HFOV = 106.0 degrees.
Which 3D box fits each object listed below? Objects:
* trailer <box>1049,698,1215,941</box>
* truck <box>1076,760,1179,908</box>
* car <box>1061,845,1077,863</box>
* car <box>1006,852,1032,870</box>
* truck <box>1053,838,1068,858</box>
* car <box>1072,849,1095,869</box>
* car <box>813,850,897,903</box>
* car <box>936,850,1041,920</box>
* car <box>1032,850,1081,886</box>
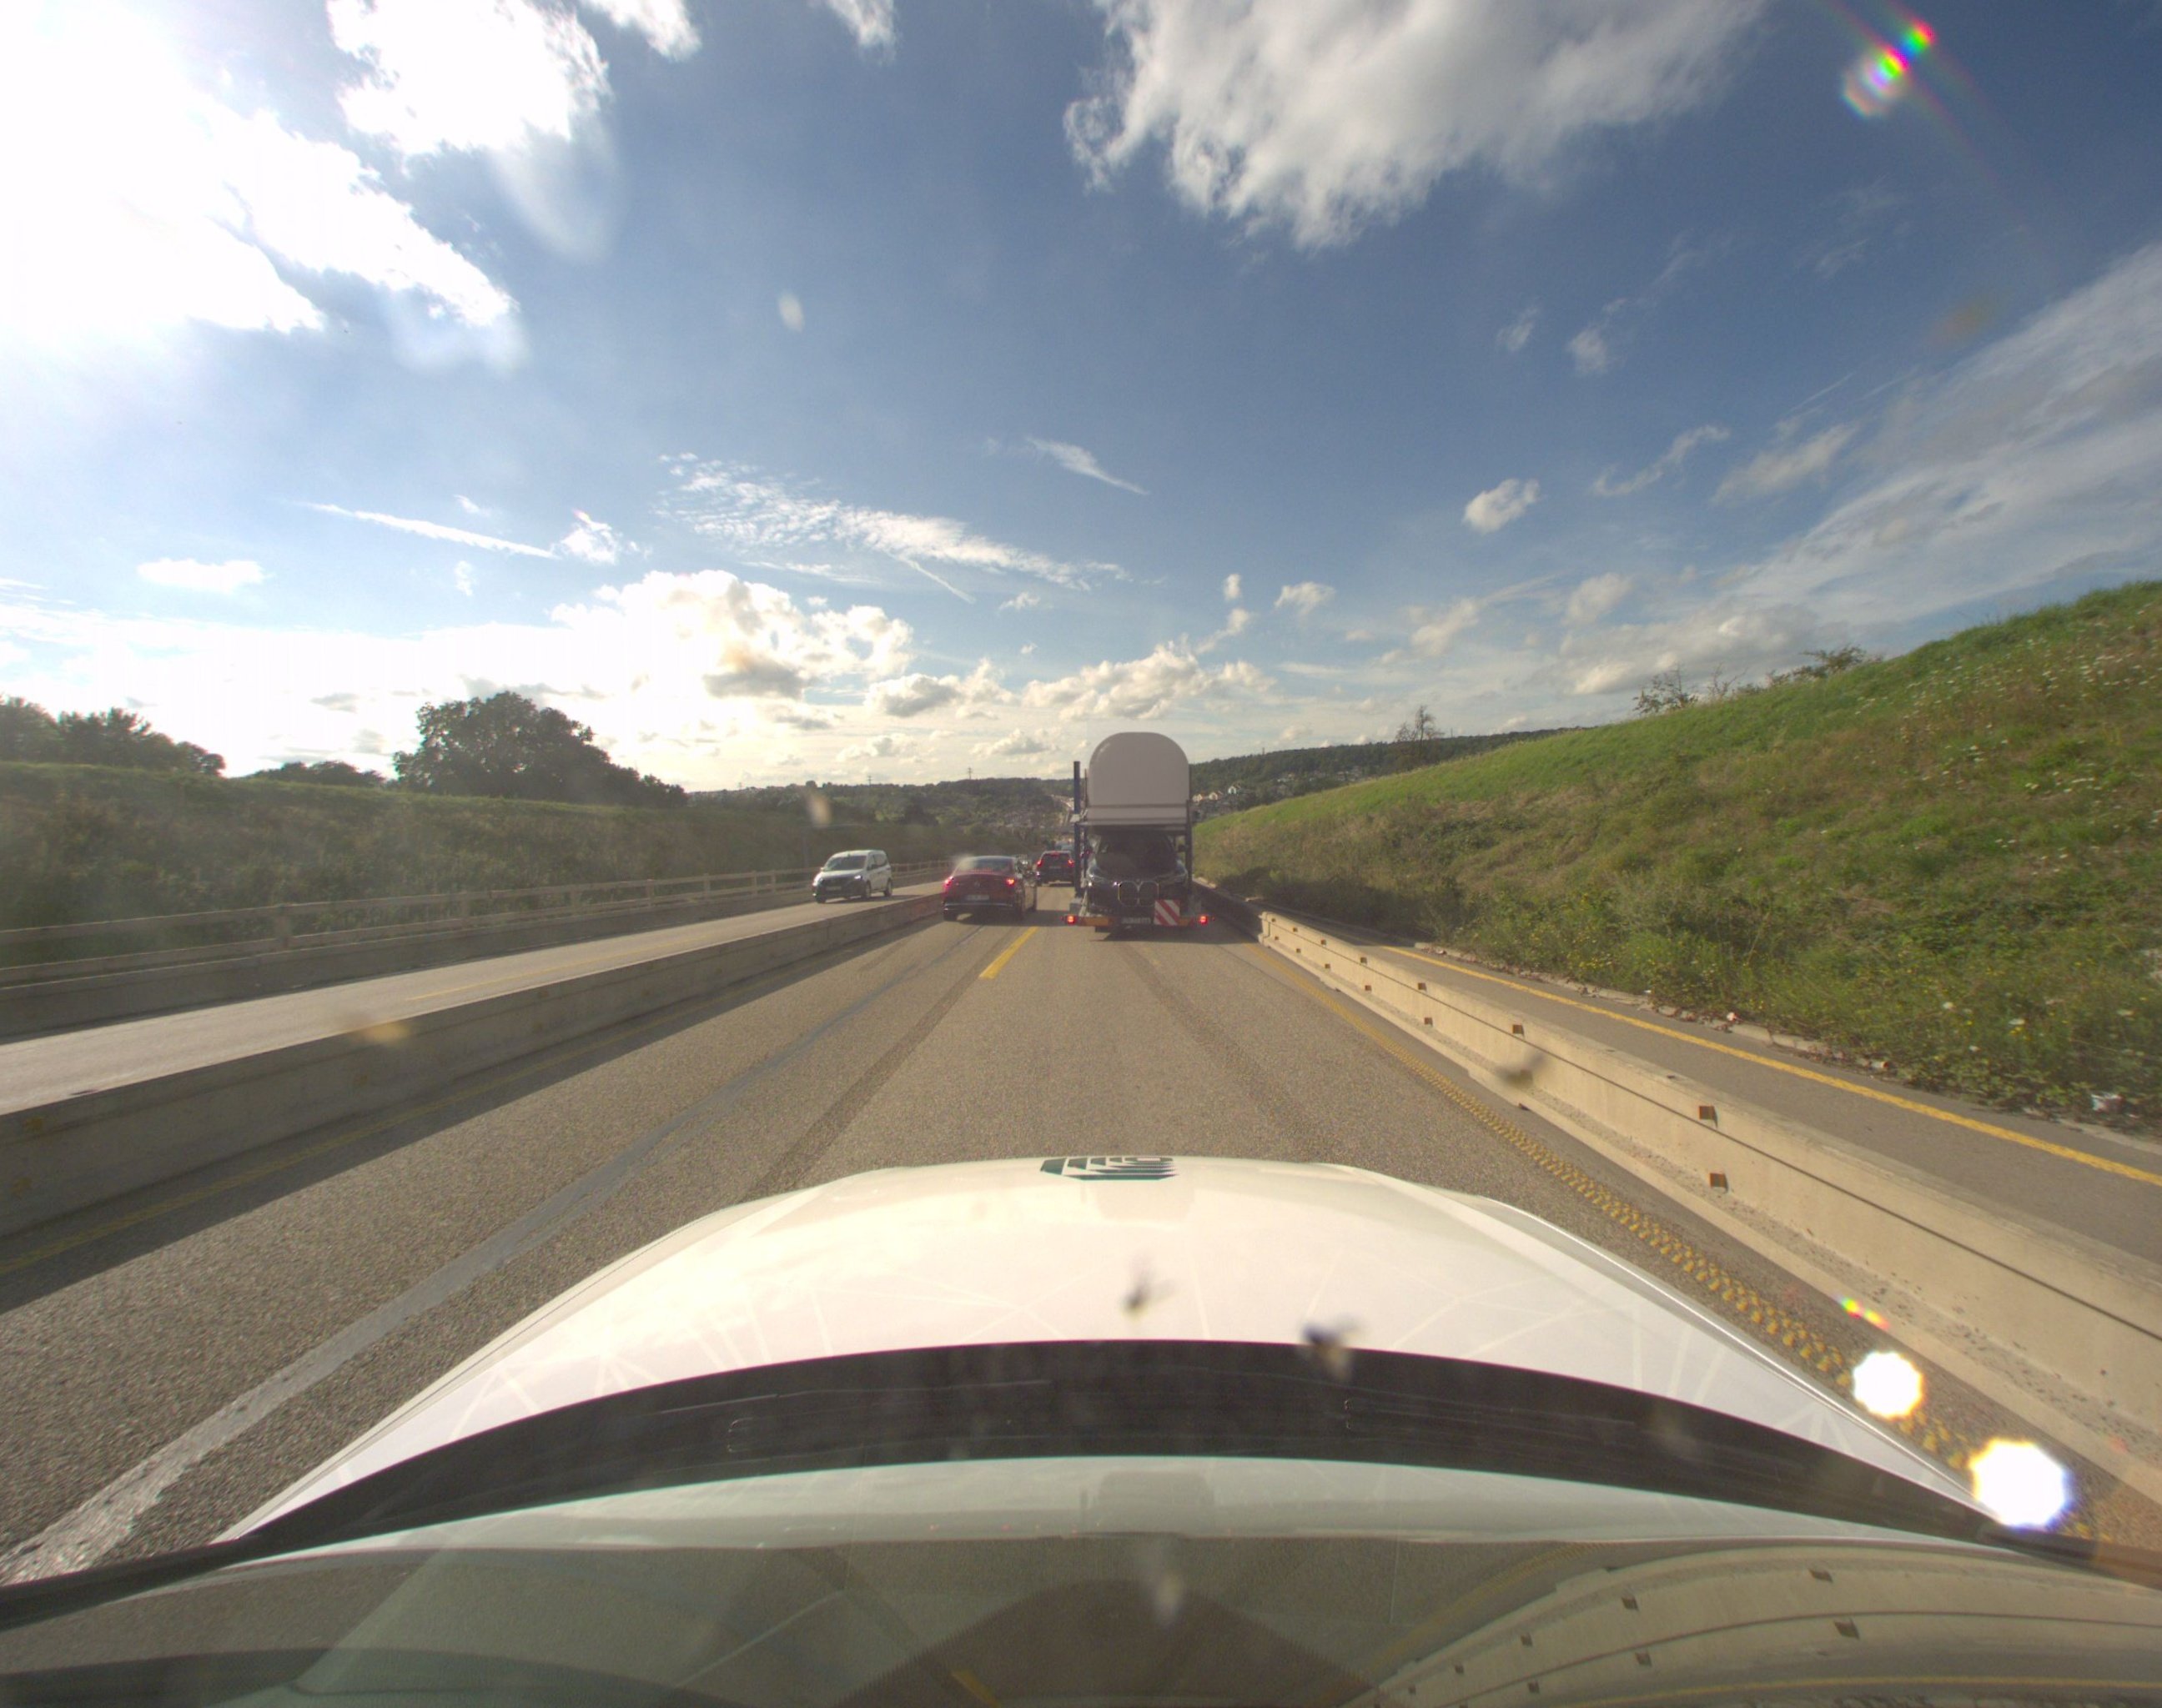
[{"bbox_3d":[1.154,-0.599,19.401,2.697,4.029,11.428,-1,0,3],"label":"trailer"},{"bbox_3d":[1.432,-0.543,24.997,2.666,3.922,6.033,-1,0,3],"label":"truck"},{"bbox_3d":[-2.015,0.012,134.880,2.101,2.835,6.143,-4,0,3],"label":"car"},{"bbox_3d":[-5.394,0.609,71.589,1.728,1.425,4.629,-4,0,1],"label":"car"},{"bbox_3d":[-4.175,-1.247,167.889,2.604,4.153,5.785,-1,0,2],"label":"truck"},{"bbox_3d":[0.227,0.395,67.717,1.790,1.596,4.743,-2,0,1],"label":"car"},{"bbox_3d":[-8.121,0.740,29.619,1.728,1.659,4.218,-4,1,1],"label":"car"},{"bbox_3d":[-2.109,0.652,19.836,1.816,1.492,4.687,0,1,2],"label":"car"},{"bbox_3d":[-1.095,0.616,38.762,1.985,1.625,4.754,0,0,3],"label":"car"}]
